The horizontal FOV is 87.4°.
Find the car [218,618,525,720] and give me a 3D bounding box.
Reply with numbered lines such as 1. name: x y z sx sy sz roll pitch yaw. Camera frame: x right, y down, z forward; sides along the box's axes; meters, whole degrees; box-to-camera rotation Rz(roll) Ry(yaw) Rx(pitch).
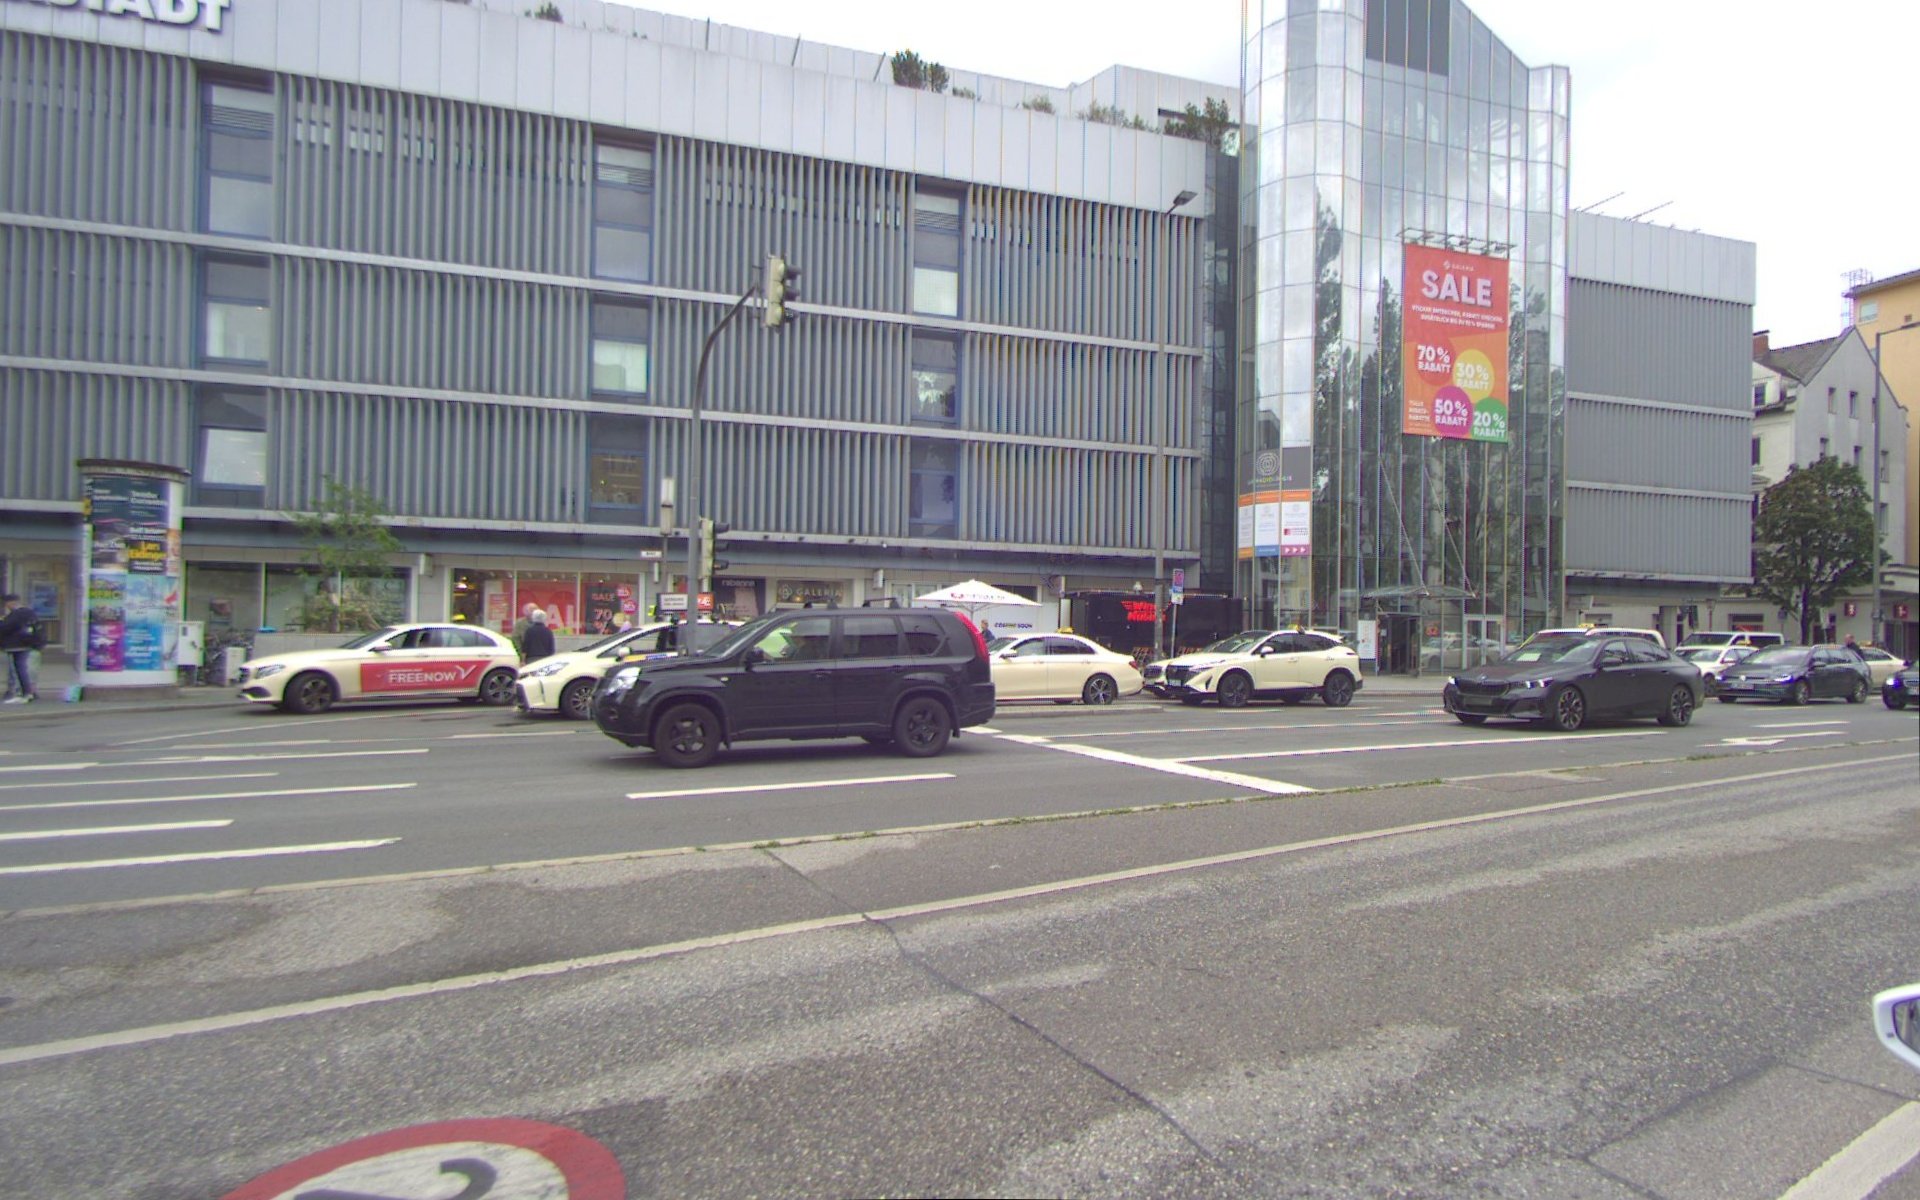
1. car: -10.040 1.114 17.350 4.270 1.530 1.835 2 -2 -44

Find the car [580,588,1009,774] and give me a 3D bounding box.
1. car: -1.903 0.853 11.575 4.535 1.801 1.989 1 -2 -24

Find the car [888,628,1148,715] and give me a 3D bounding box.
1. car: 1.132 1.362 19.872 4.774 1.561 1.943 1 -2 -20

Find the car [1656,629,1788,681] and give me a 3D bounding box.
1. car: 31.278 2.246 41.233 5.036 2.040 1.990 1 -2 -21

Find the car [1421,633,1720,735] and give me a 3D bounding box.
1. car: 10.449 1.360 17.161 4.953 1.527 1.988 1 -2 -25

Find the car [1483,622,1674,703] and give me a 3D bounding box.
1. car: 16.794 1.672 27.209 5.253 2.040 1.987 2 -3 -27

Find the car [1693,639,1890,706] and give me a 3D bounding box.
1. car: 21.145 1.801 25.536 4.880 1.567 1.954 2 -2 -25

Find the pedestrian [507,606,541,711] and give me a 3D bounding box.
1. pedestrian: -7.486 0.996 17.259 0.424 1.752 0.521 2 0 -30

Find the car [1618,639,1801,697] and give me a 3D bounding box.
1. car: 21.888 1.958 29.333 5.011 1.573 1.974 1 -2 -21

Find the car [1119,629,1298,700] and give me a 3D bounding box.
1. car: 6.060 1.558 24.596 3.938 1.637 1.770 2 -2 -19

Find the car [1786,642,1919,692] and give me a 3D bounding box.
1. car: 28.879 2.105 31.697 4.900 1.488 1.857 1 -3 -16

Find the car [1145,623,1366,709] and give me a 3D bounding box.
1. car: 6.370 1.415 21.730 4.315 1.721 1.884 1 -3 -19

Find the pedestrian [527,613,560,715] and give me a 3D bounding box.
1. pedestrian: -7.011 1.068 16.903 0.420 1.677 0.362 2 0 -30

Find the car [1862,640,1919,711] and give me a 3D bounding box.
1. car: 22.671 1.681 22.716 4.673 1.506 1.829 1 -2 -27

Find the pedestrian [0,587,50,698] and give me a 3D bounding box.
1. pedestrian: -15.557 0.693 16.650 0.504 1.802 0.559 2 0 -27

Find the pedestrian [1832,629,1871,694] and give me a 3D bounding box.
1. pedestrian: 26.248 1.795 29.587 0.776 1.892 0.843 0 -2 37

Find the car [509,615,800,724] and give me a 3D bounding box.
1. car: -5.070 1.114 16.887 4.425 1.633 1.579 2 -2 -30

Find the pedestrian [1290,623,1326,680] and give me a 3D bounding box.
1. pedestrian: 11.358 1.662 32.838 0.805 1.829 0.788 1 -1 -18

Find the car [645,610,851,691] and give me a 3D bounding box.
1. car: -4.514 1.050 21.438 3.949 1.587 1.900 1 -2 -27

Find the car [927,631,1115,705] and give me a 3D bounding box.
1. car: 1.398 1.522 23.010 3.942 1.557 1.749 2 -2 -22

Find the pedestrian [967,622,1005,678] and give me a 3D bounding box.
1. pedestrian: 0.738 1.423 28.607 0.884 1.566 0.731 1 -1 -17
